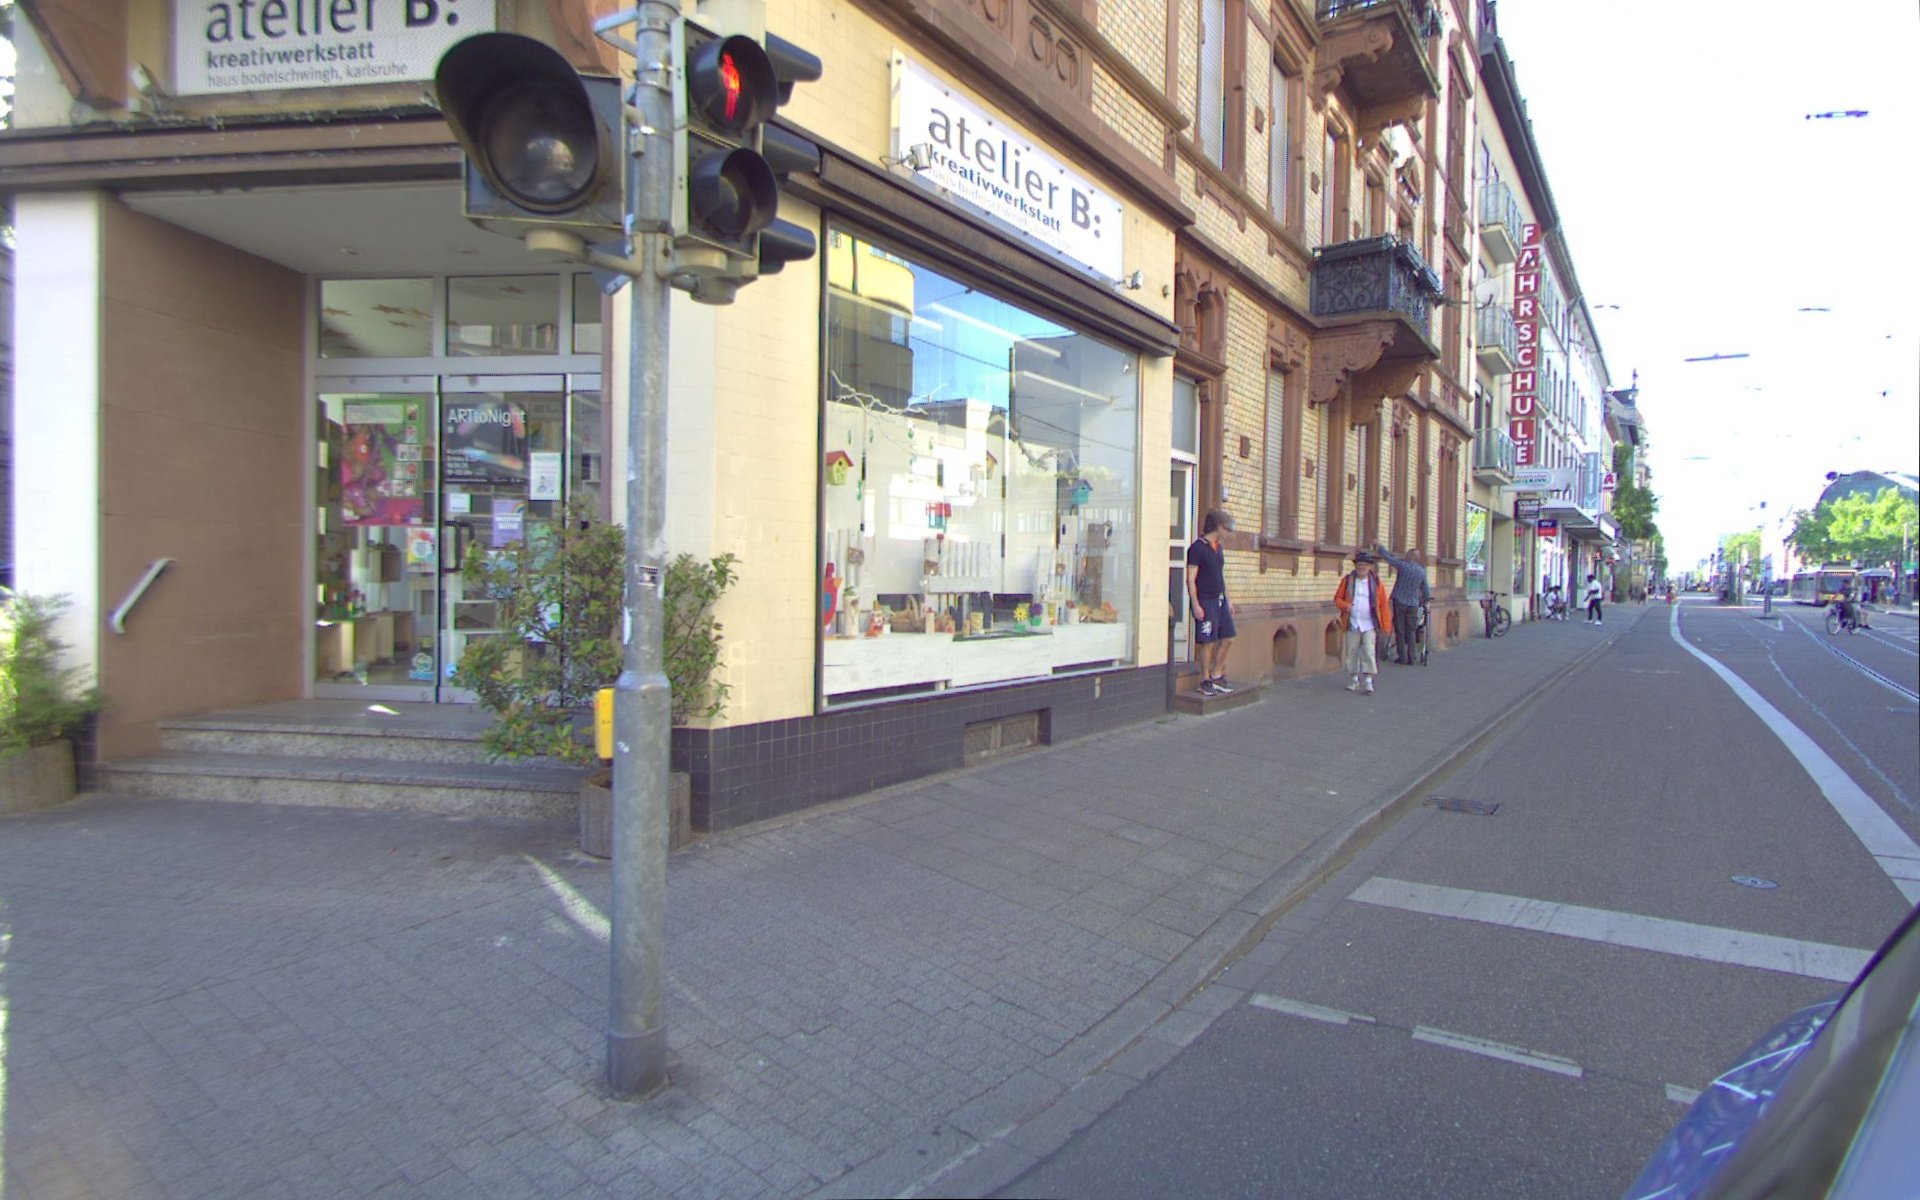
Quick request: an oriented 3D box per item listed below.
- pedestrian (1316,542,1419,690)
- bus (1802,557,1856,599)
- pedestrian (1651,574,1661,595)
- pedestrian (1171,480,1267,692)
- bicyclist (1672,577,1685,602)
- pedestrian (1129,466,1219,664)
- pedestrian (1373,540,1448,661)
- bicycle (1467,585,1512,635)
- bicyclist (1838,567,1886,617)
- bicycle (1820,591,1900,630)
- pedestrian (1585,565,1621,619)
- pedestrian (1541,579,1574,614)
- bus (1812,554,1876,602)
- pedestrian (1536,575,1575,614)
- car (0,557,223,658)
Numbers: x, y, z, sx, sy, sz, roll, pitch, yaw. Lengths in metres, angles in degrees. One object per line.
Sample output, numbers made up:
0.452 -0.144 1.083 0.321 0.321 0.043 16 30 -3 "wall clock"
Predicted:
4.898 0.176 12.170 0.797 1.647 0.814 8 4 37 "pedestrian"
80.263 -2.079 93.648 2.805 3.611 13.498 2 2 37 "bus"
57.939 -1.262 84.266 0.647 1.737 0.795 2 1 37 "pedestrian"
2.476 -0.137 9.668 0.513 1.928 0.587 8 4 37 "pedestrian"
48.528 -0.718 68.348 0.673 1.634 0.827 1 1 35 "bicyclist"
2.184 -0.355 10.324 0.513 1.928 0.587 8 4 37 "pedestrian"
7.184 -0.007 16.133 0.804 1.821 0.751 7 4 36 "pedestrian"
12.560 0.211 23.966 0.554 1.074 2.280 4 3 36 "bicycle"
29.347 -0.273 32.943 0.823 1.567 0.691 0 5 7 "bicyclist"
29.332 0.347 33.000 1.800 1.184 0.682 0 5 7 "bicycle"
22.960 -0.296 36.127 0.667 1.833 0.707 2 5 -38 "pedestrian"
22.049 -0.132 37.348 0.698 1.188 1.011 7 4 17 "pedestrian"
72.318 -1.829 83.001 2.805 3.611 13.497 2 2 37 "bus"
21.466 -0.195 36.494 0.815 1.270 0.707 6 4 1 "pedestrian"
-13.541 0.068 14.693 4.223 1.371 2.004 0 2 -22 "car"
